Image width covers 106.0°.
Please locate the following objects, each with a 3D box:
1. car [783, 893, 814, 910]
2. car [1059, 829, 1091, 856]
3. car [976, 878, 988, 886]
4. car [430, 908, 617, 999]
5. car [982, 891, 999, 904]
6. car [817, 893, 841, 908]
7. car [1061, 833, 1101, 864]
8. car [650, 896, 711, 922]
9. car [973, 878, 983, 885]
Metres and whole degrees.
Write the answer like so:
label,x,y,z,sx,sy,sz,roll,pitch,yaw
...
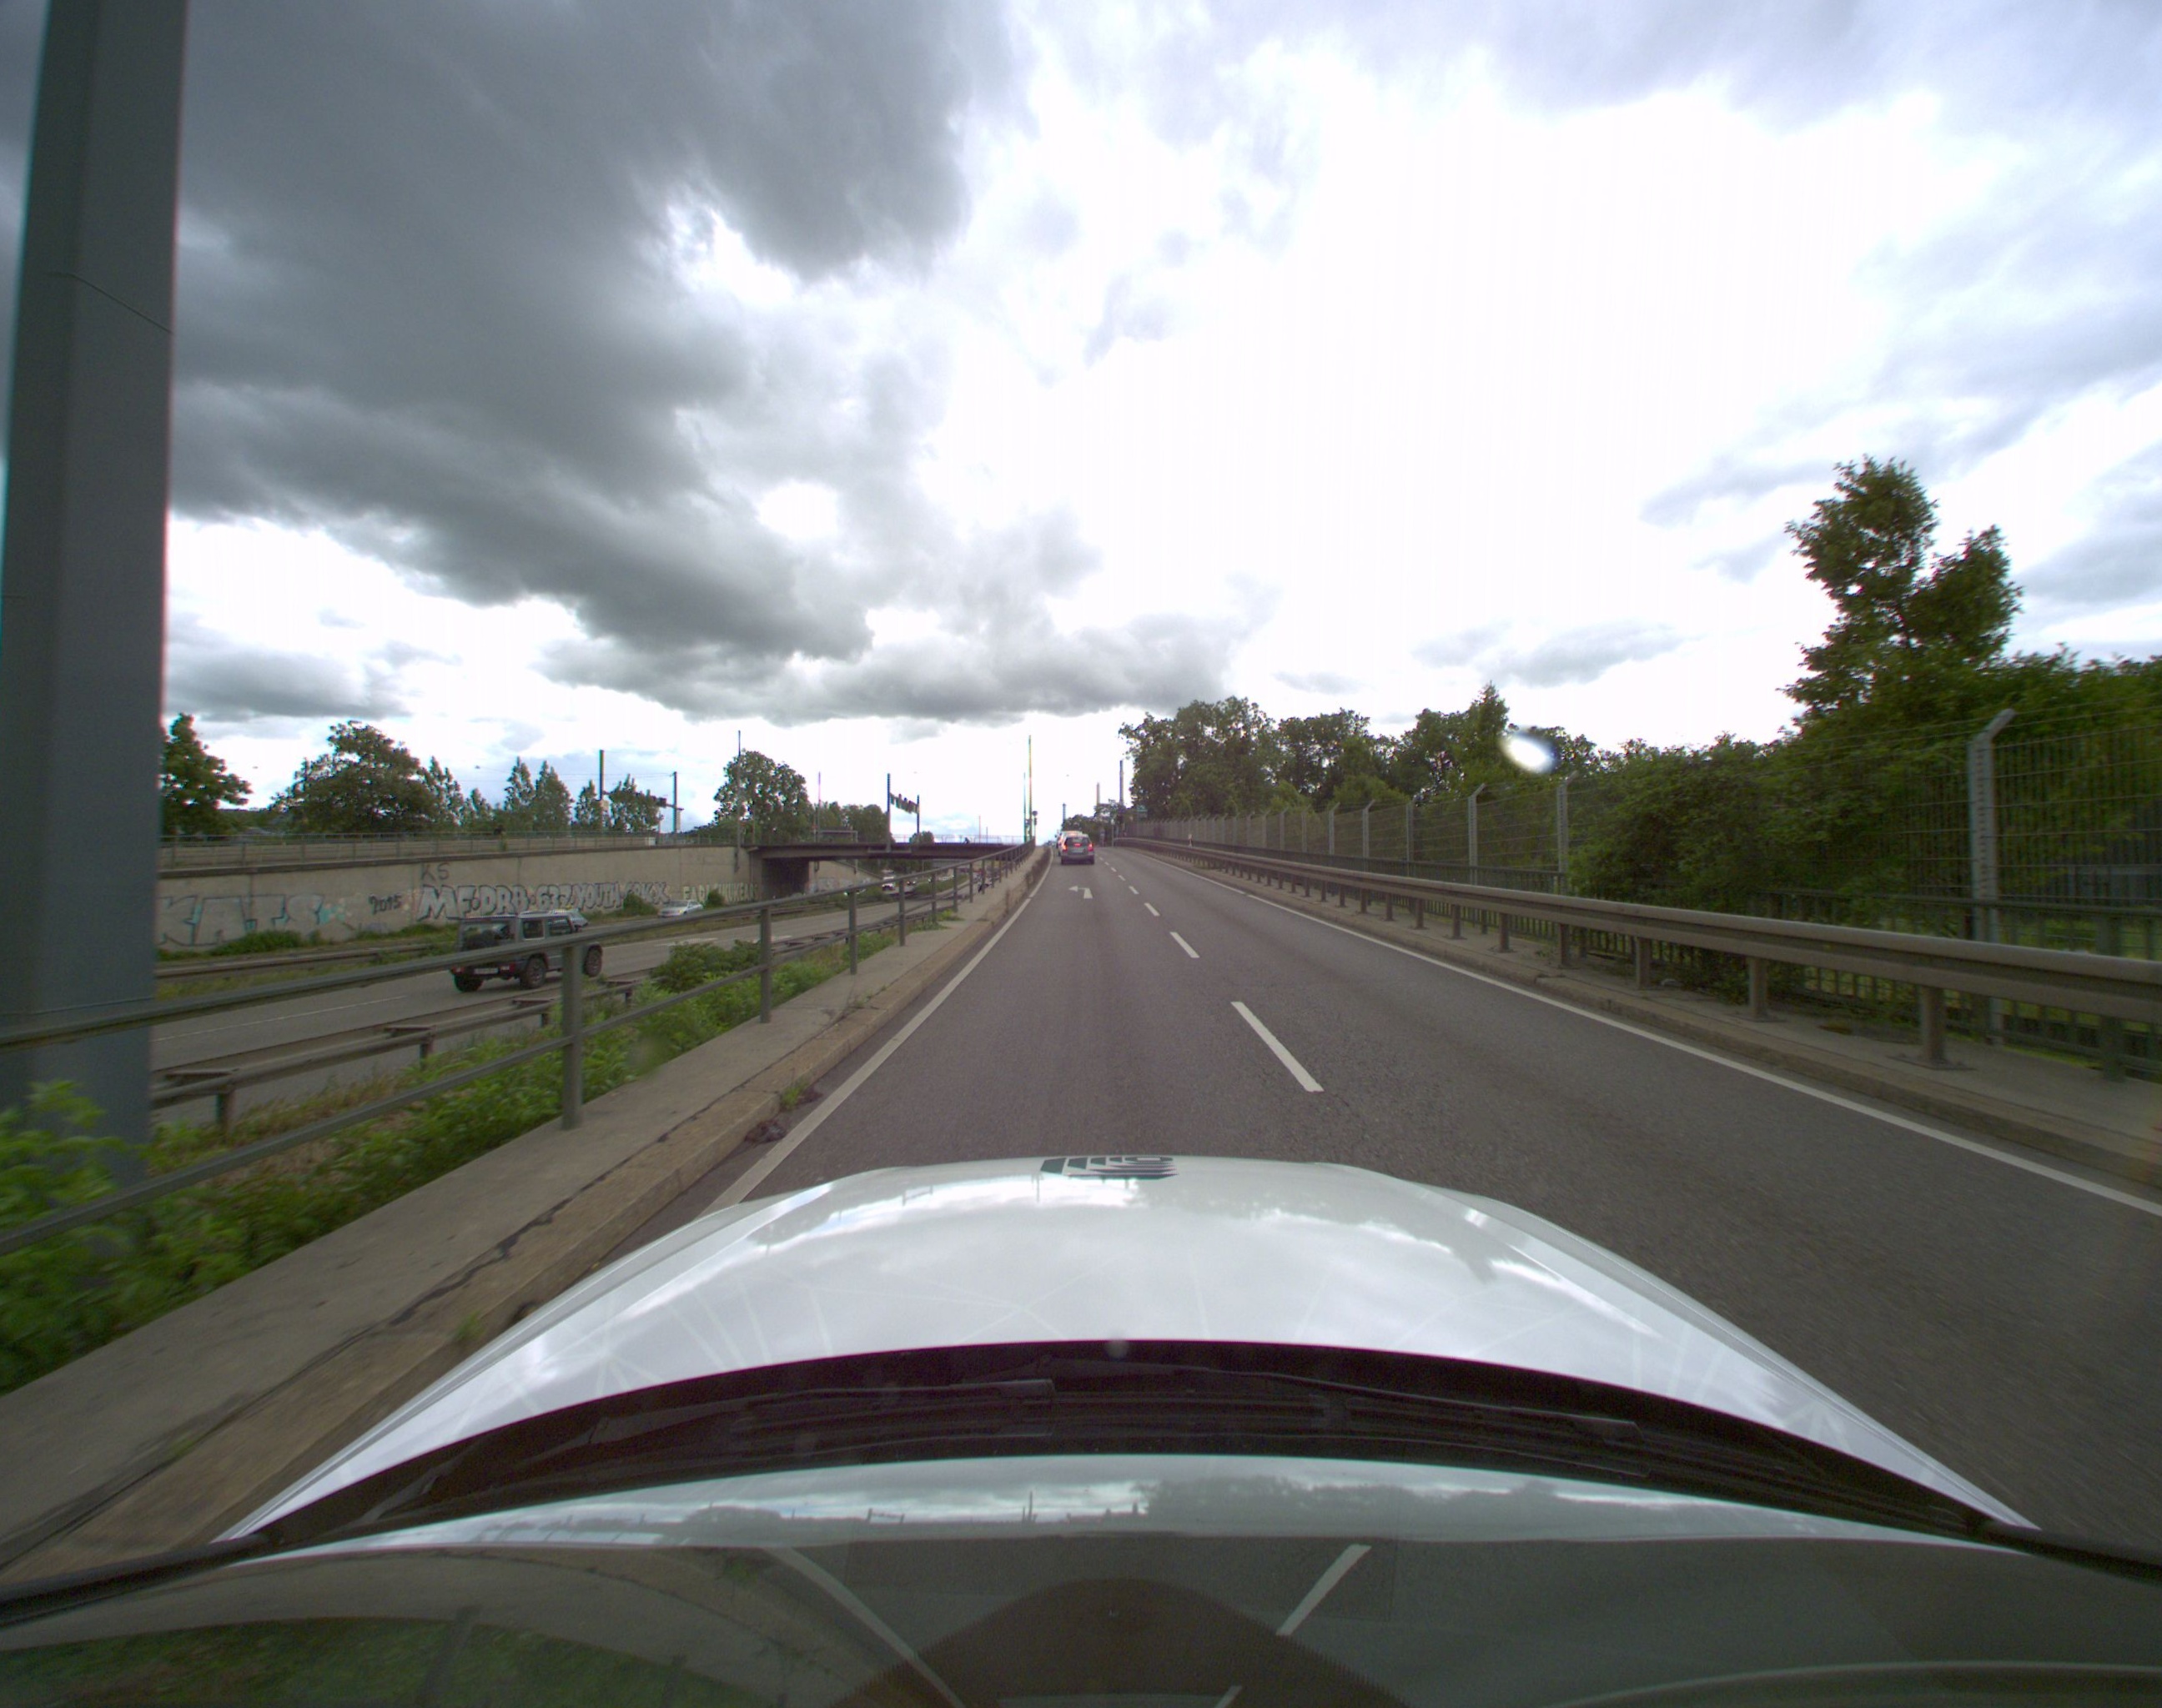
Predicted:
label,x,y,z,sx,sy,sz,roll,pitch,yaw
car,-30.138,5.051,87.051,1.990,1.720,4.696,-2,-2,-4
car,-0.420,-0.791,54.707,1.988,1.602,3.999,-2,3,-1
car,-22.505,6.326,185.380,1.986,1.684,4.002,0,0,2
car,-13.068,2.254,19.426,1.675,1.736,3.997,-2,-2,0
car,-11.498,5.496,103.834,1.990,1.420,3.993,0,0,-5
car,-31.963,5.934,103.304,1.992,1.692,4.691,-2,-2,-7
car,0.070,-0.247,43.514,1.741,1.581,4.091,0,0,5
car,-28.239,3.894,57.610,1.987,1.693,4.700,-2,-4,0
car,-27.252,7.309,216.119,1.986,1.684,4.002,0,0,2
